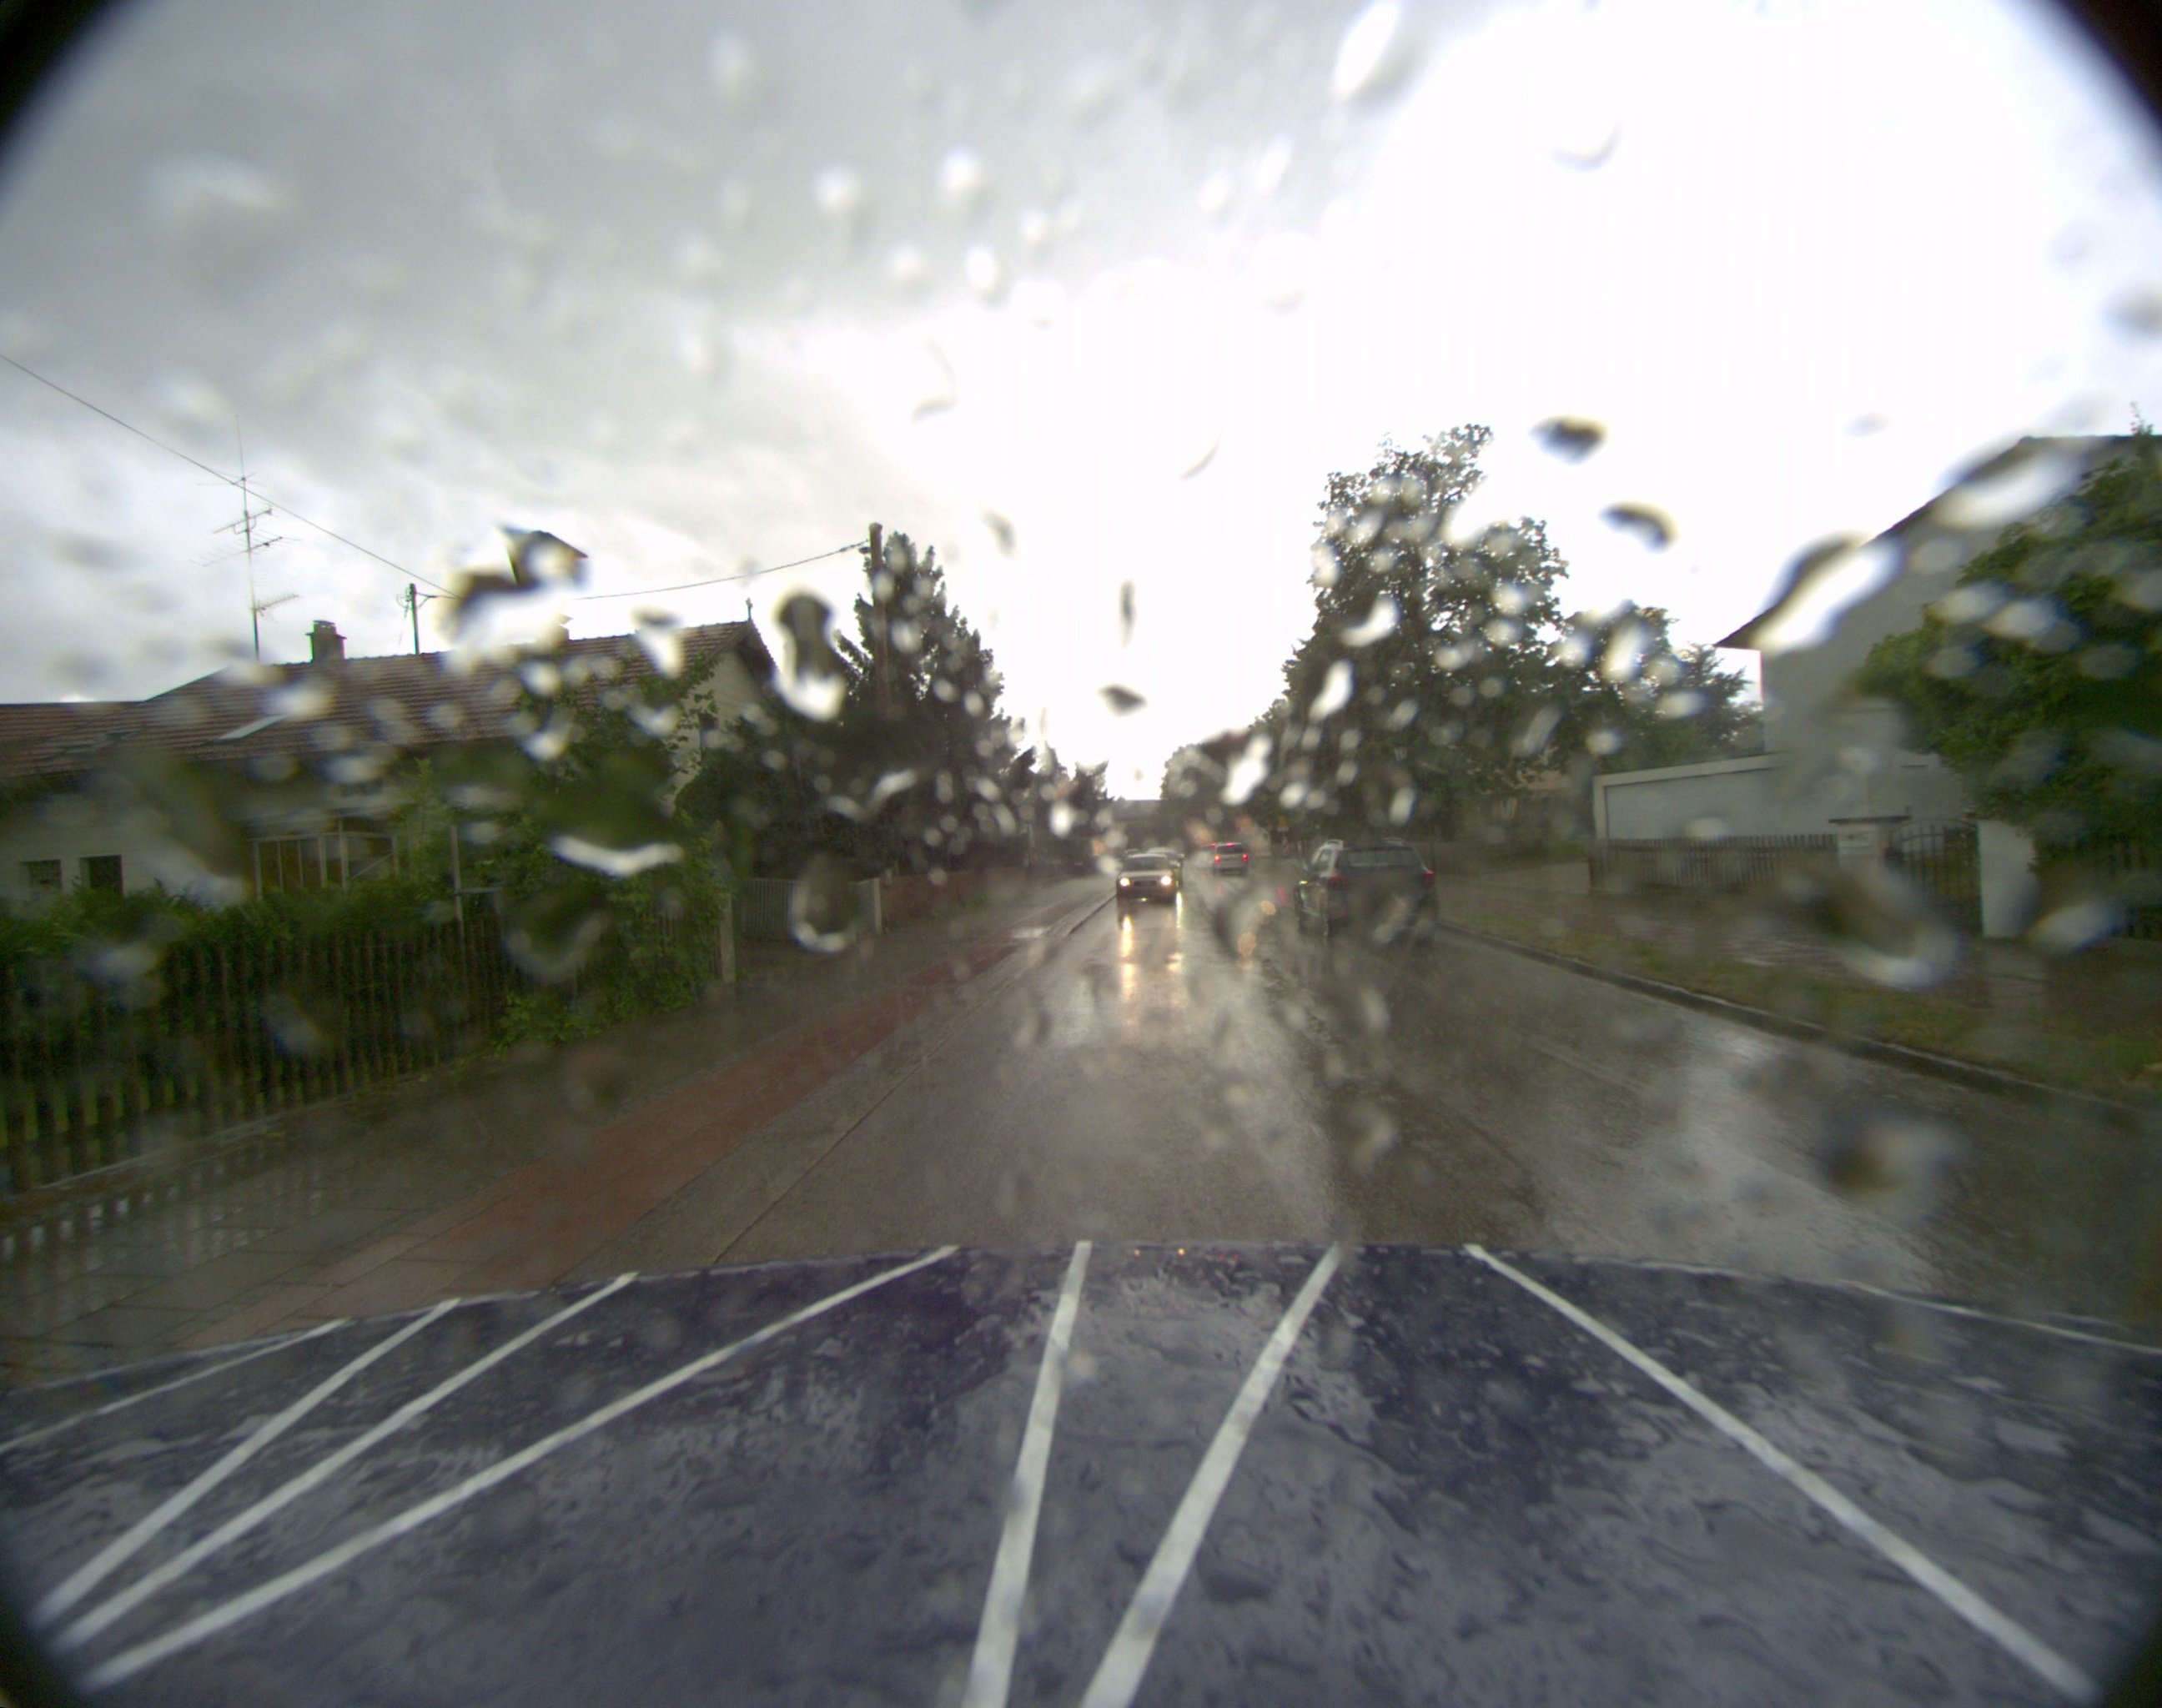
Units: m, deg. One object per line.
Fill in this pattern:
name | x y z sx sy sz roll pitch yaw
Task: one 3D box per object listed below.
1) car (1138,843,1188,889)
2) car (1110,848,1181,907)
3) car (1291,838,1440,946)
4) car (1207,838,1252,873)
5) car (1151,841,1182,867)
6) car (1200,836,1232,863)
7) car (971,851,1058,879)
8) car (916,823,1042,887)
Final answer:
car | 3.566 0.466 32.684 1.871 1.603 4.962 -5 1 7
car | 2.025 0.647 23.078 1.871 1.512 4.190 -3 1 7
car | 4.791 0.562 13.275 1.590 1.601 3.540 -2 1 7
car | 7.644 0.048 39.427 1.757 1.668 4.000 -1 1 4
car | 5.897 -0.044 52.325 1.871 1.512 4.963 -5 1 7
car | 9.384 -0.349 53.265 1.926 1.734 4.193 -3 1 7
car | -3.434 0.560 40.098 4.441 1.413 1.830 0 1 -1
car | -4.397 0.029 33.465 5.318 2.712 1.999 0 1 -2
